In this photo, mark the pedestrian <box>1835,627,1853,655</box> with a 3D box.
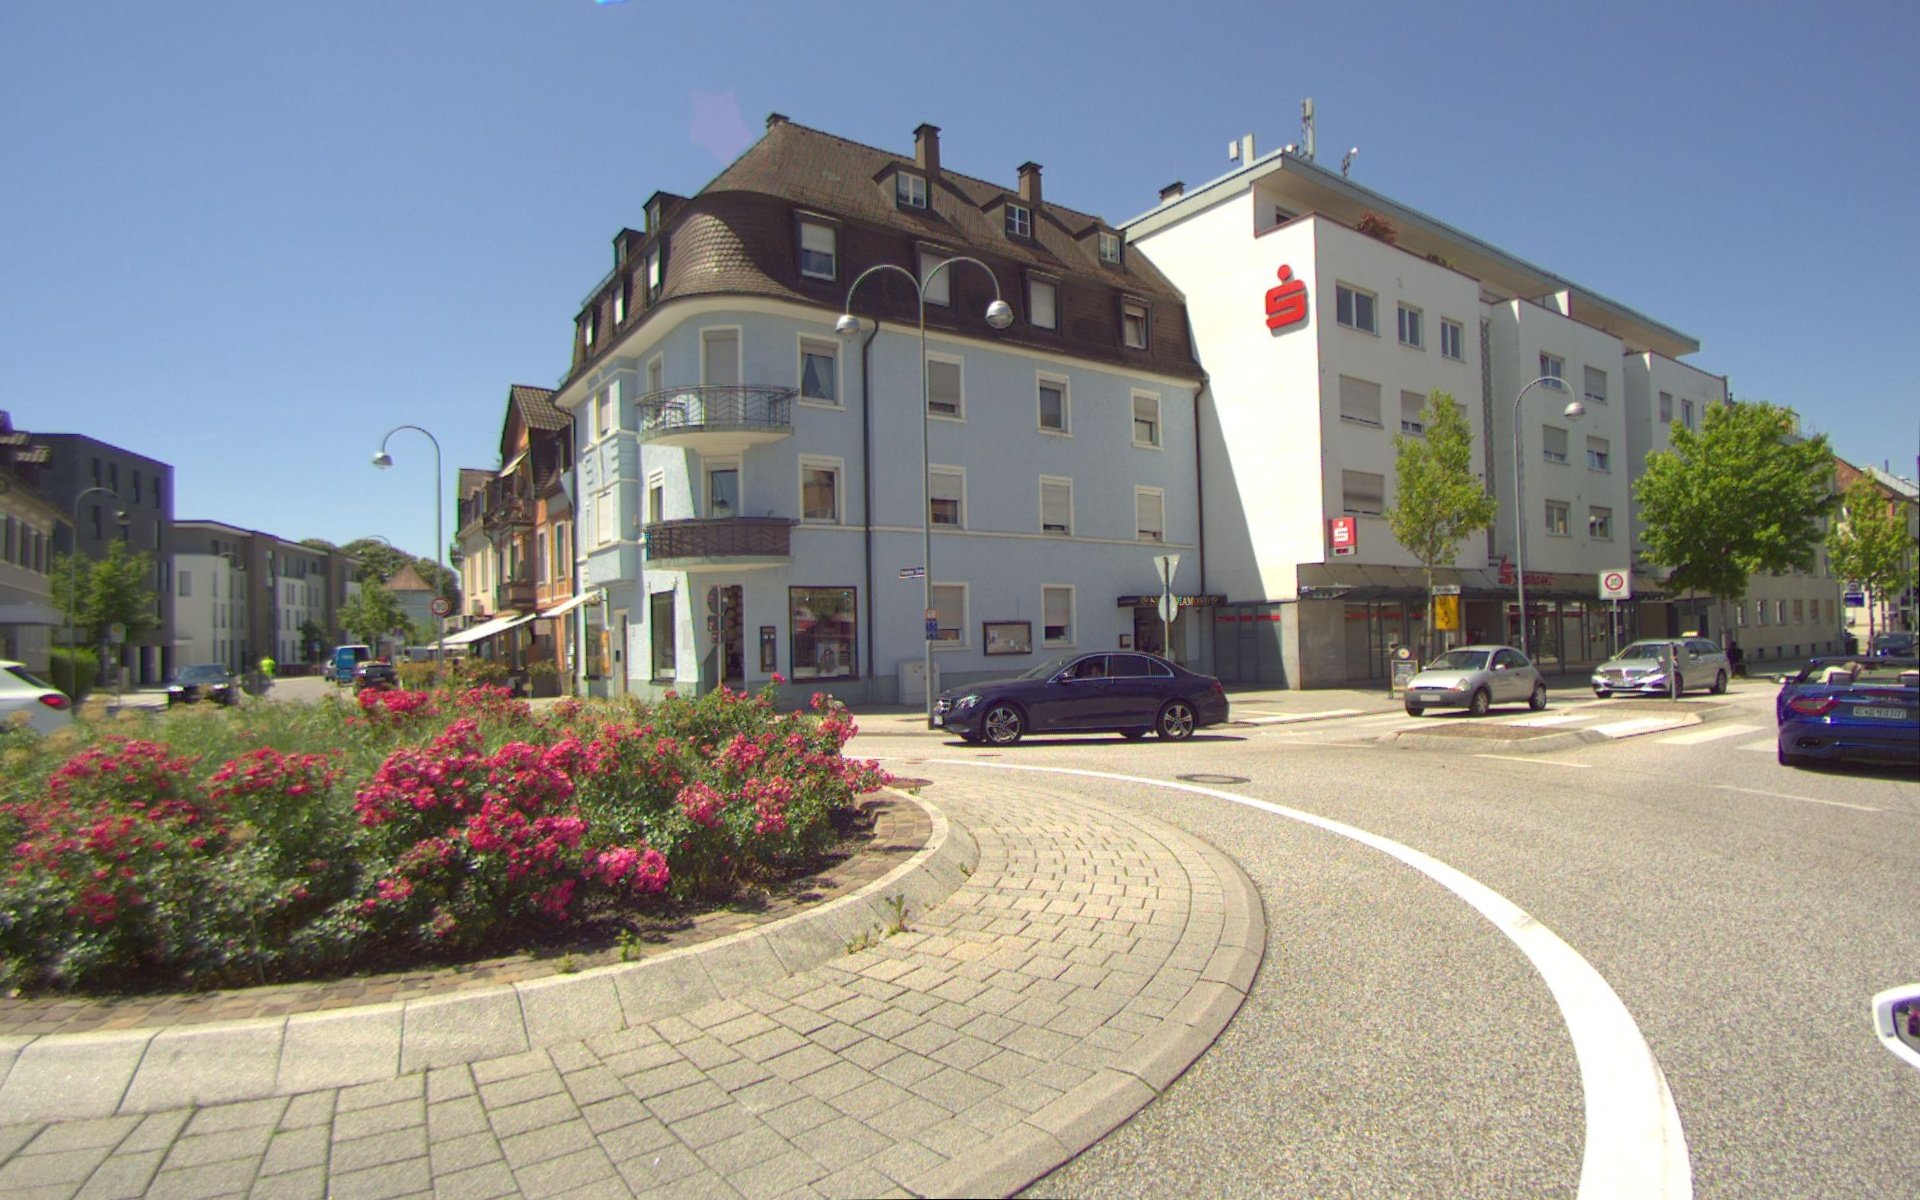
[{"bbox_3d":[54.924,2.532,62.414,0.647,1.702,0.629,-5,-2,36],"label":"pedestrian"}]

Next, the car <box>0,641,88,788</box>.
[{"bbox_3d":[-10.999,1.208,9.218,1.905,1.399,4.268,-7,-4,39],"label":"car"}]

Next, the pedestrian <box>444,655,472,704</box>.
[{"bbox_3d":[-16.532,2.619,33.067,0.622,1.544,0.795,-2,-1,-37],"label":"pedestrian"}]

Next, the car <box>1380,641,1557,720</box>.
[{"bbox_3d":[10.895,1.679,21.473,3.749,1.477,1.690,0,-4,-34],"label":"car"}]

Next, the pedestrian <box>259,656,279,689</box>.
[{"bbox_3d":[-43.873,4.592,63.800,0.910,2.056,0.894,0,-2,-28],"label":"pedestrian"}]

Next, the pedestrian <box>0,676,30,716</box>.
[{"bbox_3d":[-31.921,3.234,33.925,0.679,1.302,0.575,1,-3,-37],"label":"pedestrian"}]

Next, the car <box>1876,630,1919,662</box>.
[{"bbox_3d":[52.217,2.497,55.406,4.353,1.641,1.810,0,-1,-38],"label":"car"}]

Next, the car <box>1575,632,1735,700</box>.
[{"bbox_3d":[18.494,1.682,26.655,4.951,1.613,1.980,1,-3,-37],"label":"car"}]

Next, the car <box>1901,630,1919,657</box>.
[{"bbox_3d":[57.149,2.536,59.071,4.277,1.493,1.743,1,-1,-35],"label":"car"}]

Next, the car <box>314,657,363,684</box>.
[{"bbox_3d":[-50.738,5.752,82.103,1.897,2.135,4.442,1,-3,-11],"label":"car"}]

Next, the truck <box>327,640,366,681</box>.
[{"bbox_3d":[-38.578,3.783,63.243,1.939,2.401,4.303,-2,-2,-30],"label":"truck"}]

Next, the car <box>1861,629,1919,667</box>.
[{"bbox_3d":[47.943,2.444,51.614,4.353,1.764,1.715,0,0,-38],"label":"car"}]

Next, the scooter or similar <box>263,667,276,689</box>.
[{"bbox_3d":[-43.881,4.951,63.826,0.521,1.391,1.338,0,-2,-28],"label":"scooter or similar"}]

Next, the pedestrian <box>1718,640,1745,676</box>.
[{"bbox_3d":[30.285,2.284,39.446,0.658,1.390,0.565,1,-4,-27],"label":"pedestrian"}]

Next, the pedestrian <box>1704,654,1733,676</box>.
[{"bbox_3d":[30.703,2.633,40.672,0.723,0.869,0.662,4,-5,-27],"label":"pedestrian"}]

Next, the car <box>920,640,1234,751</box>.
[{"bbox_3d":[1.849,1.492,16.317,4.632,1.496,1.994,-1,-3,-16],"label":"car"}]

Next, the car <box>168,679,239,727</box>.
[{"bbox_3d":[-29.095,3.922,38.718,1.734,1.566,3.566,-2,-2,-30],"label":"car"}]

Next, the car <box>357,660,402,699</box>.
[{"bbox_3d":[-26.318,3.572,45.539,1.664,1.566,3.915,-2,-2,-30],"label":"car"}]

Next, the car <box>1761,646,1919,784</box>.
[{"bbox_3d":[11.684,1.364,13.067,1.952,1.417,4.607,0,-1,39],"label":"car"}]
